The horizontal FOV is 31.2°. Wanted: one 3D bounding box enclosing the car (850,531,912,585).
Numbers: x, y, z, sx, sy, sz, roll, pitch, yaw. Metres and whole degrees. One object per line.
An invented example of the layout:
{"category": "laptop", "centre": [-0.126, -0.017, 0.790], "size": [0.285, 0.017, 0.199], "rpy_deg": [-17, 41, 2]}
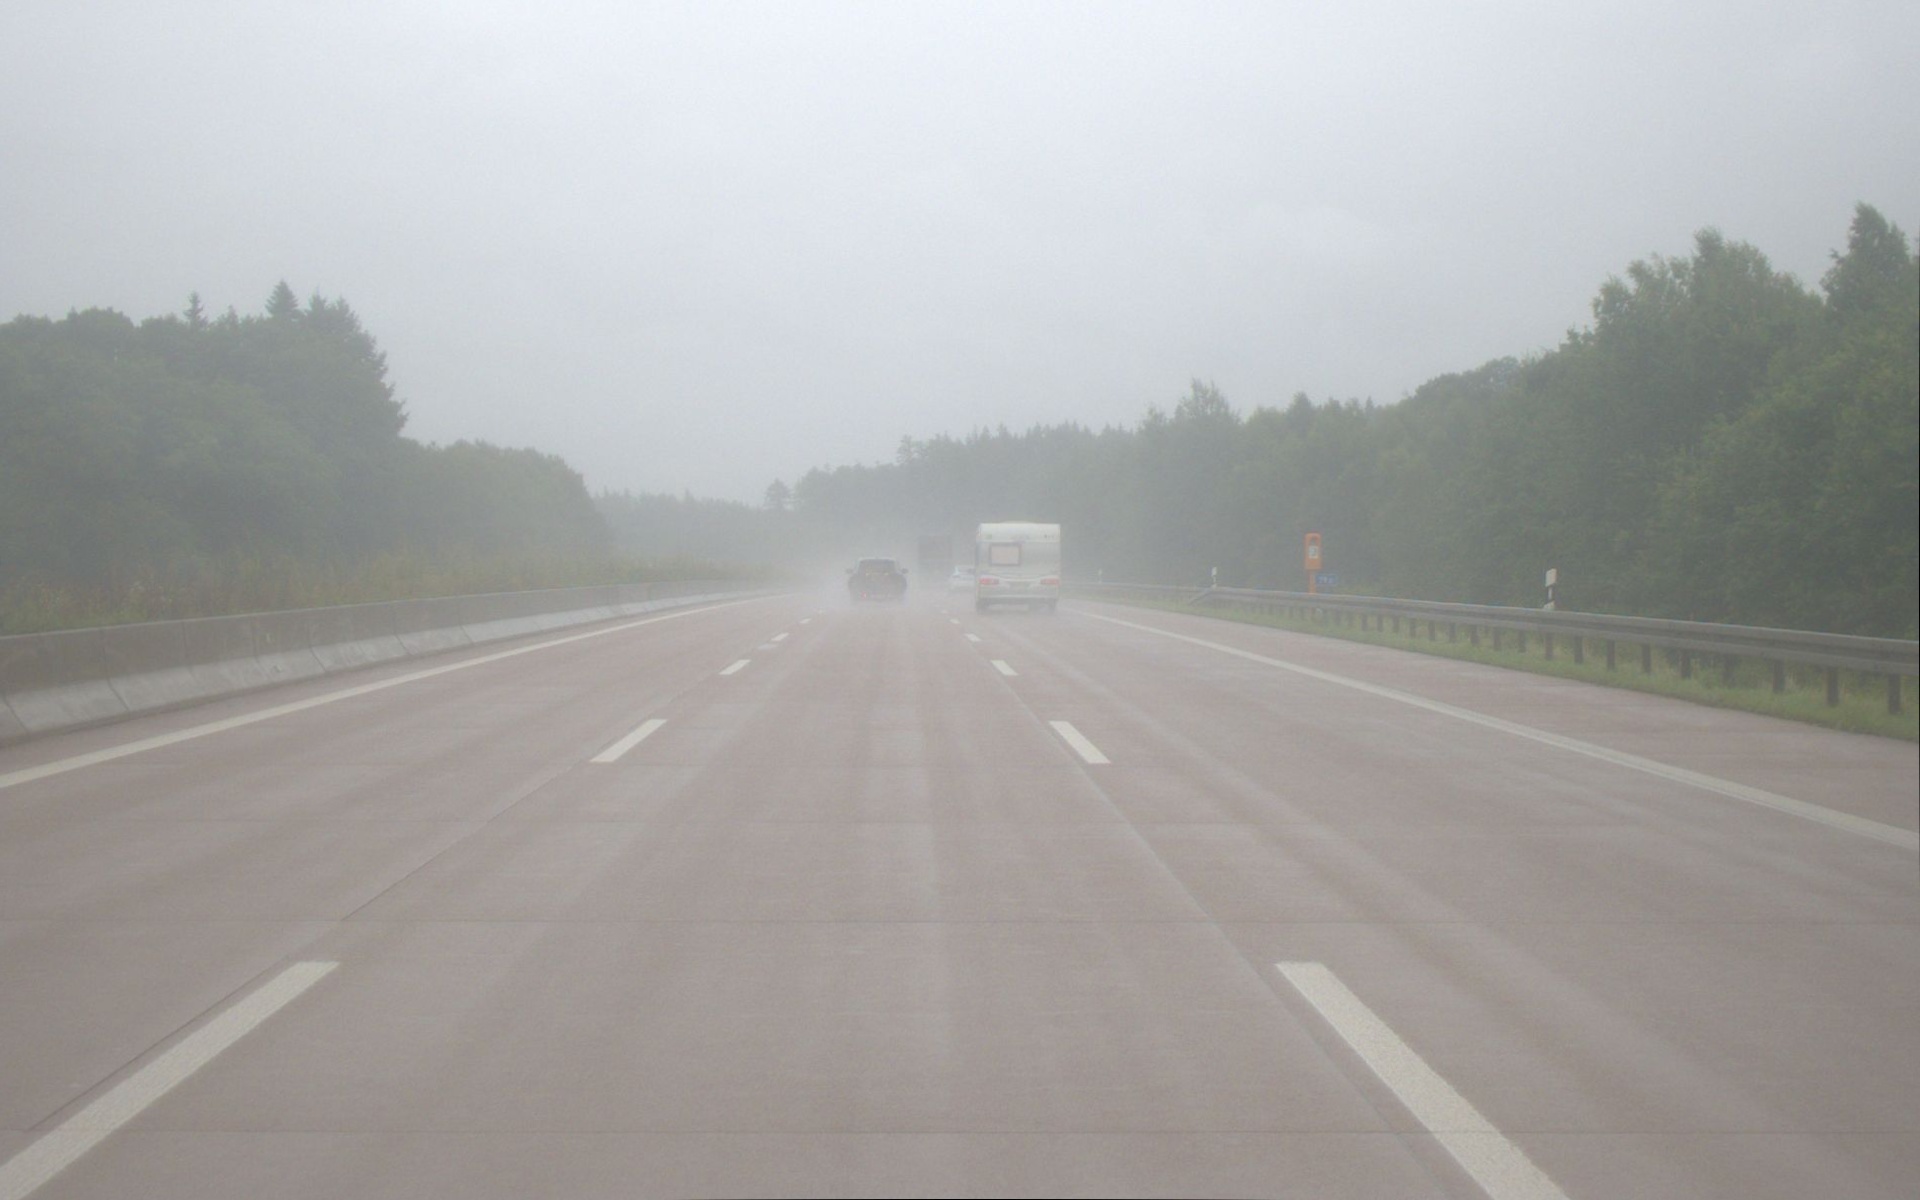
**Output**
{"category": "car", "centre": [-2.606, -1.406, 113.991], "size": [1.937, 1.723, 4.130], "rpy_deg": [0, 1, 0]}

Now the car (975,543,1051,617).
{"category": "car", "centre": [1.465, -0.569, 96.014], "size": [2.058, 1.993, 4.098], "rpy_deg": [0, 1, 0]}
